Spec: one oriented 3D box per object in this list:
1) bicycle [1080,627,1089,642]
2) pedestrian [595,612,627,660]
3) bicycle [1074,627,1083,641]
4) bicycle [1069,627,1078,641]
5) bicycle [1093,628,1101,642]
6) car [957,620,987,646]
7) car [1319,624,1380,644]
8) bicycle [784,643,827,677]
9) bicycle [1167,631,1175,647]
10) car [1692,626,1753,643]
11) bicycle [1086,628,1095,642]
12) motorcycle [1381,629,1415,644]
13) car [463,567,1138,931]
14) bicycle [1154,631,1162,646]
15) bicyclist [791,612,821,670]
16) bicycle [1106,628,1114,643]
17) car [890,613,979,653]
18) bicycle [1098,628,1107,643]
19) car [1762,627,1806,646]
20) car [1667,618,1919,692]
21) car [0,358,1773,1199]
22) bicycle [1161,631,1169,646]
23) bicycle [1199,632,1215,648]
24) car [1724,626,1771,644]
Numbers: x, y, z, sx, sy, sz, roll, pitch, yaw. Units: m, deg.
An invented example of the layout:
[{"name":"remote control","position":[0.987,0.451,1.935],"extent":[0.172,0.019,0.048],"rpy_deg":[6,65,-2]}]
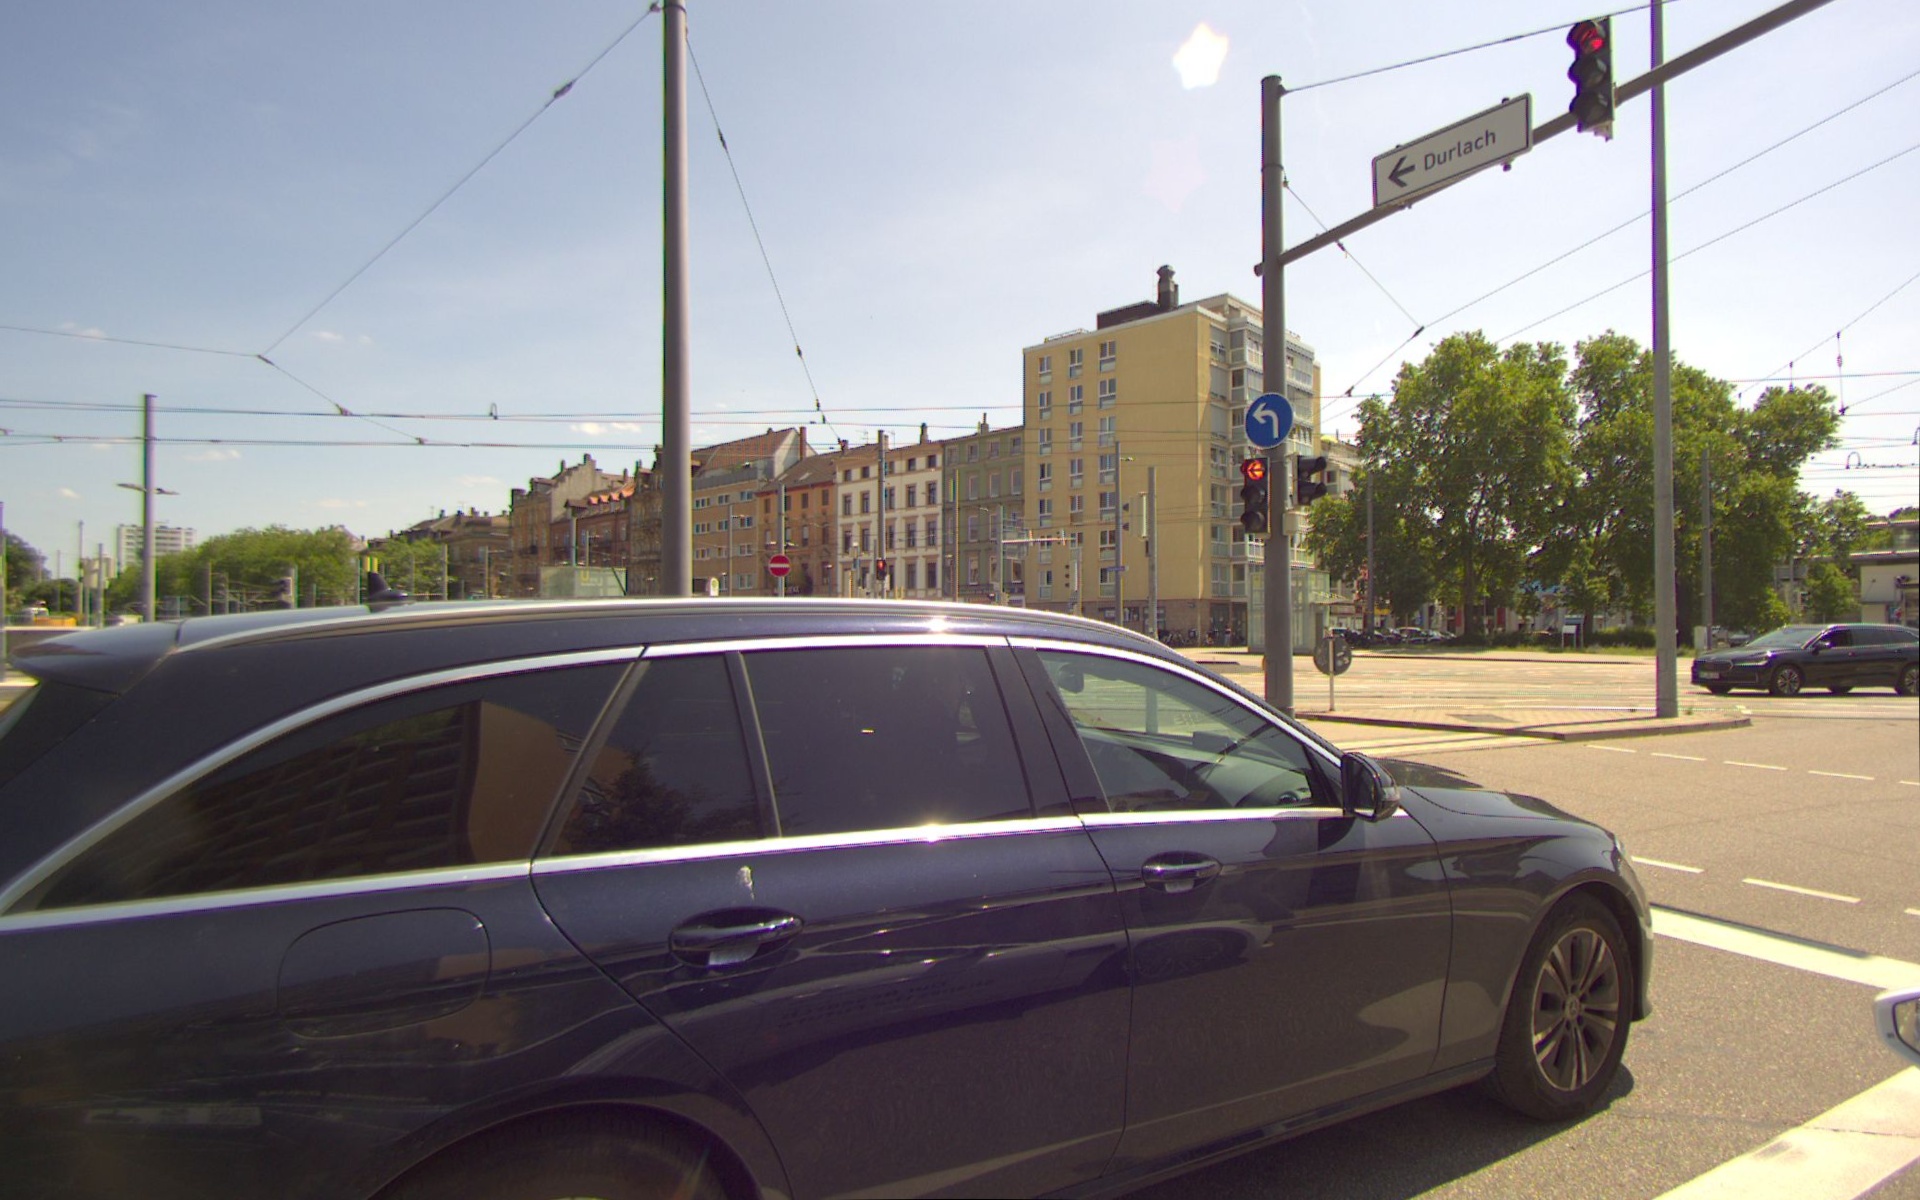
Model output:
[{"name":"bicycle","position":[9.157,2.521,73.594],"extent":[0.424,1.040,1.445],"rpy_deg":[0,-1,16]},{"name":"pedestrian","position":[-13.616,1.394,39.194],"extent":[1.114,1.837,0.677],"rpy_deg":[-1,-1,38]},{"name":"bicycle","position":[8.730,2.510,74.031],"extent":[0.424,1.040,1.445],"rpy_deg":[0,-1,16]},{"name":"bicycle","position":[8.388,2.501,74.370],"extent":[0.424,1.040,1.445],"rpy_deg":[0,-1,16]},{"name":"bicycle","position":[9.961,2.542,72.990],"extent":[0.424,1.040,1.445],"rpy_deg":[0,-1,16]},{"name":"car","position":[0.826,2.281,70.665],"extent":[1.803,1.773,3.998],"rpy_deg":[0,-1,-4]},{"name":"car","position":[29.515,2.561,76.182],"extent":[3.943,1.439,1.989],"rpy_deg":[-1,-2,42]},{"name":"bicycle","position":[-4.276,1.637,27.695],"extent":[0.620,0.866,1.887],"rpy_deg":[1,-2,-26]},{"name":"bicycle","position":[14.394,2.657,68.584],"extent":[0.424,1.040,1.445],"rpy_deg":[0,-1,16]},{"name":"car","position":[70.897,3.208,93.444],"extent":[4.245,1.530,1.771],"rpy_deg":[-1,-2,26]},{"name":"bicycle","position":[9.519,2.530,73.286],"extent":[0.424,1.040,1.445],"rpy_deg":[0,-1,16]},{"name":"motorcycle","position":[27.673,2.296,63.500],"extent":[1.887,0.974,0.524],"rpy_deg":[-1,-1,31]},{"name":"car","position":[-0.910,0.697,6.089],"extent":[3.692,1.597,1.736],"rpy_deg":[1,-2,-30]},{"name":"bicycle","position":[13.650,2.637,69.159],"extent":[0.424,1.040,1.445],"rpy_deg":[0,-1,16]},{"name":"bicyclist","position":[-4.260,1.120,27.710],"extent":[0.433,1.549,1.245],"rpy_deg":[2,0,-26]},{"name":"bicycle","position":[10.794,2.565,72.334],"extent":[0.424,1.040,1.445],"rpy_deg":[0,-1,16]},{"name":"car","position":[-1.420,1.759,54.045],"extent":[4.804,2.084,1.988],"rpy_deg":[-1,-2,43]},{"name":"bicycle","position":[10.277,2.550,72.593],"extent":[0.424,1.040,1.445],"rpy_deg":[0,-1,16]},{"name":"car","position":[69.209,3.039,84.379],"extent":[4.283,1.530,1.756],"rpy_deg":[1,-2,-35]},{"name":"car","position":[17.972,1.136,21.296],"extent":[4.755,1.484,1.998],"rpy_deg":[0,-1,-6]},{"name":"car","position":[0.179,0.578,2.917],"extent":[4.747,1.662,1.789],"rpy_deg":[1,0,-30]},{"name":"bicycle","position":[14.024,2.647,68.848],"extent":[0.424,1.040,1.445],"rpy_deg":[0,-1,16]},{"name":"bicycle","position":[16.808,2.730,68.315],"extent":[0.427,1.040,1.435],"rpy_deg":[-1,-2,44]},{"name":"car","position":[68.318,3.049,87.147],"extent":[4.274,1.530,1.759],"rpy_deg":[1,-2,-29]}]
